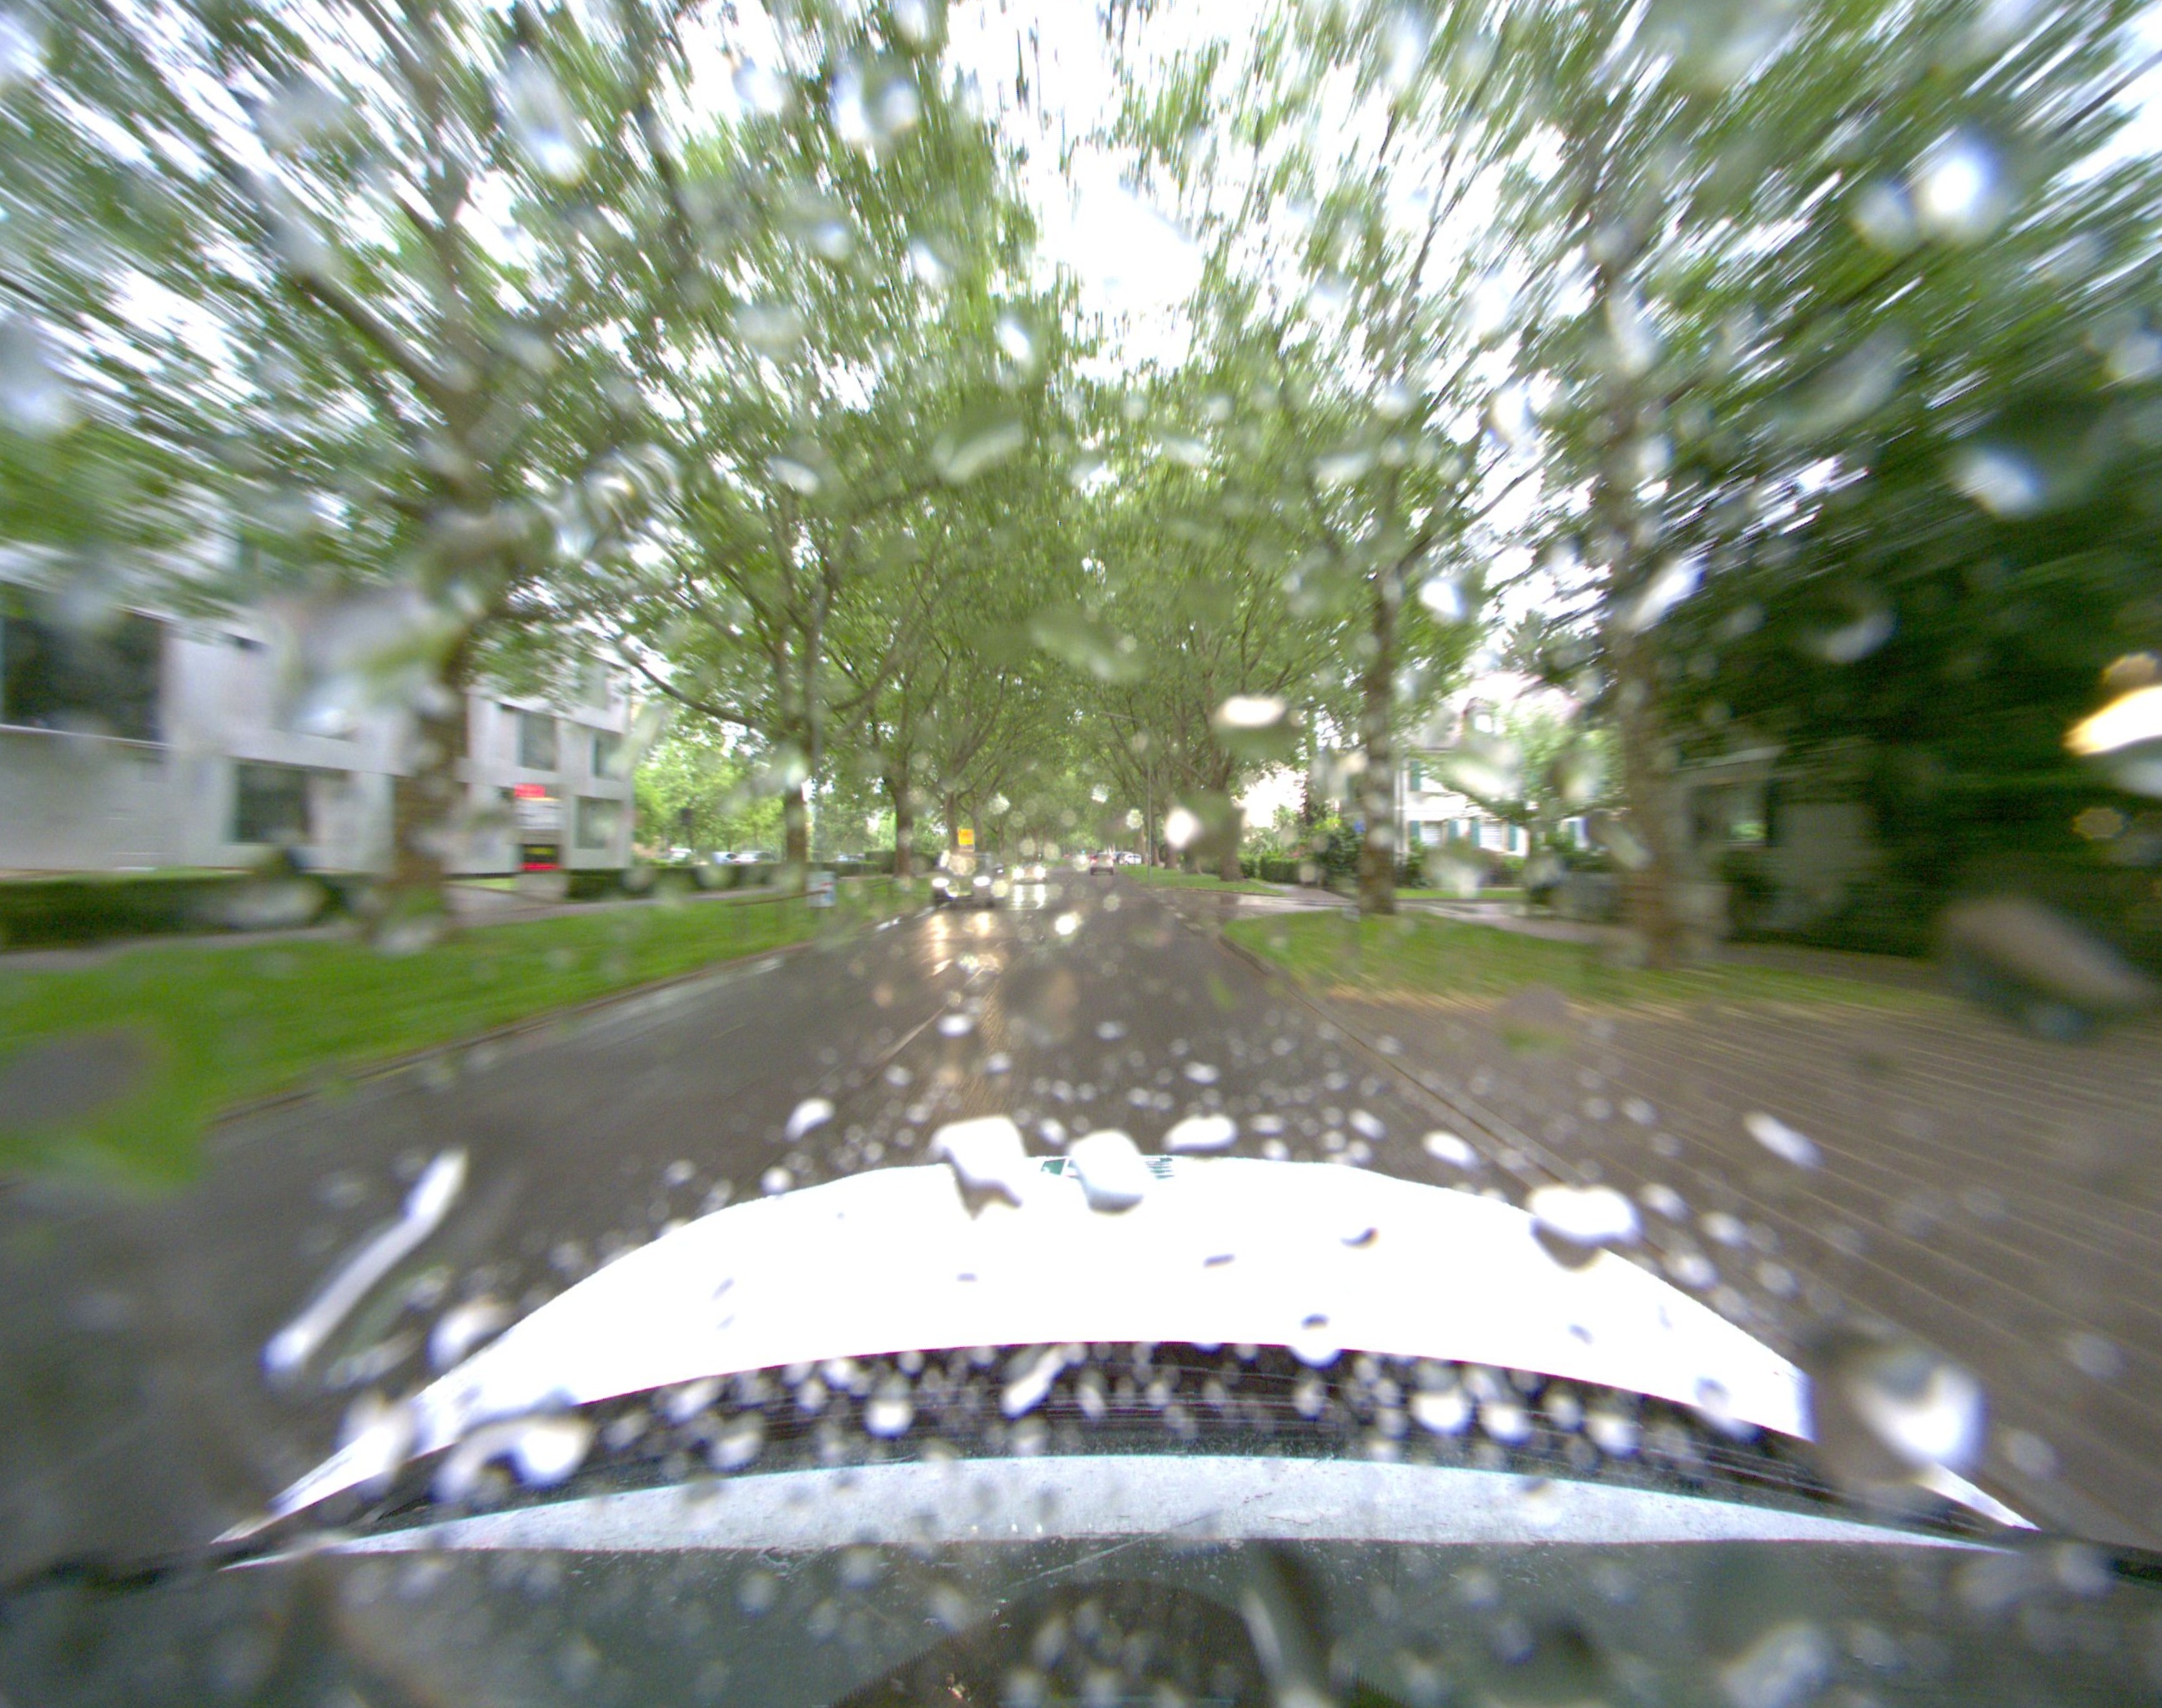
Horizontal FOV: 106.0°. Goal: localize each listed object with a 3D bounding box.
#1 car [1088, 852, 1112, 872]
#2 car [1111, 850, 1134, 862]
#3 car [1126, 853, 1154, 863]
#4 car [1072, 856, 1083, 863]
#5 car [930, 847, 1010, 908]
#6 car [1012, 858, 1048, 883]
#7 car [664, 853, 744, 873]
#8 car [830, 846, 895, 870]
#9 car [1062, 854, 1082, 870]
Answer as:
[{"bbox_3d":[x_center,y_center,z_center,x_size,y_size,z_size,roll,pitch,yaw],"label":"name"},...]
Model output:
[{"bbox_3d":[1.472,0.602,62.979,1.700,1.411,3.645,-2,0,1],"label":"car"},{"bbox_3d":[6.781,0.250,132.694,3.536,1.841,1.711,-2,0,-1],"label":"car"},{"bbox_3d":[7.581,0.463,104.870,3.537,1.155,1.710,-2,0,-2],"label":"car"},{"bbox_3d":[-0.607,1.017,147.748,1.713,1.255,4.002,1,0,2],"label":"car"},{"bbox_3d":[-3.390,0.668,25.650,1.803,1.684,4.448,-1,0,0],"label":"car"},{"bbox_3d":[-2.796,0.909,45.435,1.700,1.250,3.645,-2,0,1],"label":"car"},{"bbox_3d":[-23.367,0.553,50.622,3.973,1.134,2.000,1,0,0],"label":"car"},{"bbox_3d":[-15.379,0.262,57.437,3.972,1.623,2.001,0,0,1],"label":"car"},{"bbox_3d":[-0.791,0.702,75.392,1.700,1.411,3.645,-2,0,1],"label":"car"}]
